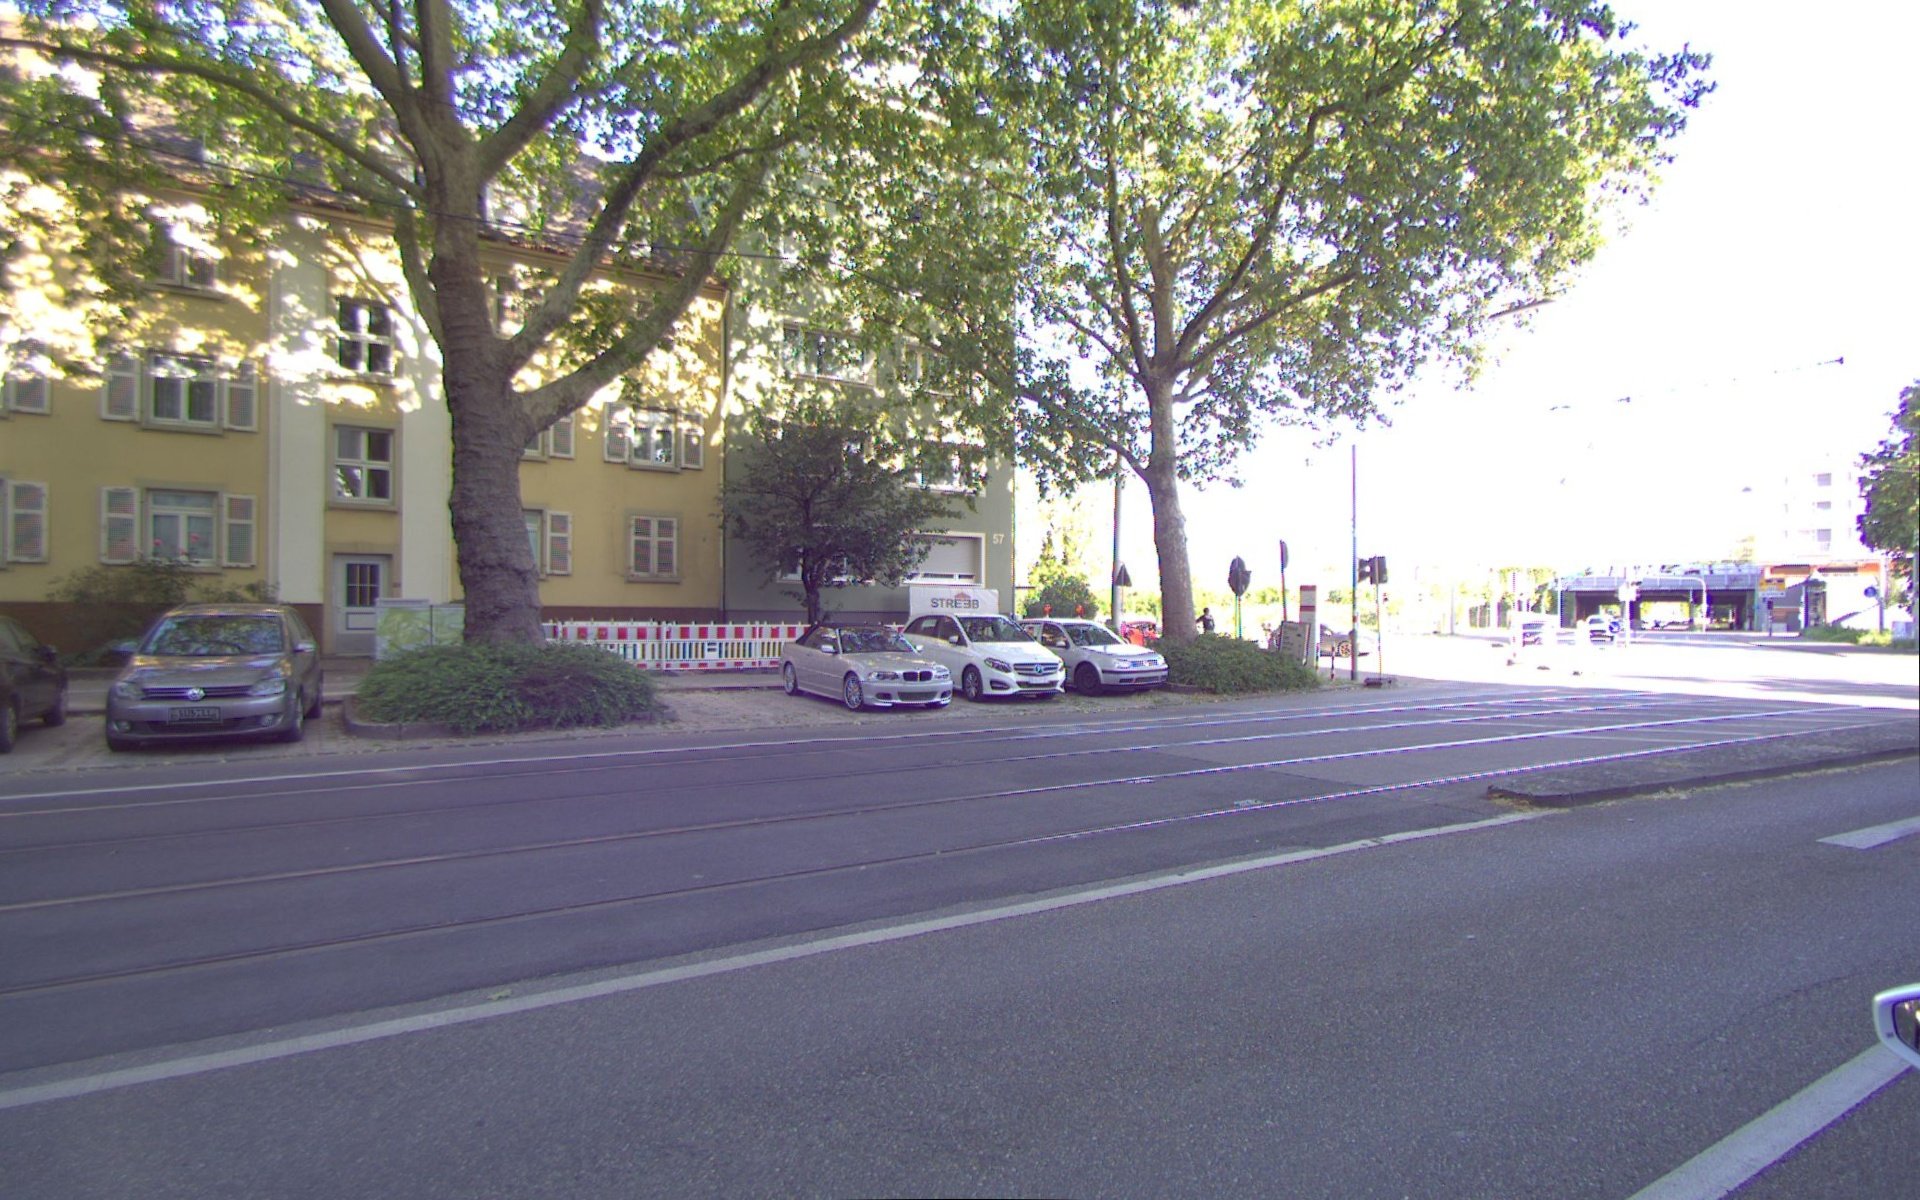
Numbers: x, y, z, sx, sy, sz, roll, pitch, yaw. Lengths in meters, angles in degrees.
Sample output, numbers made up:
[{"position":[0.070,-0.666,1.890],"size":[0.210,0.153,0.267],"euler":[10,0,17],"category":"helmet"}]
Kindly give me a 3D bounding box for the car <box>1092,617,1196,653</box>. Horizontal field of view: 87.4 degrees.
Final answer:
[{"position":[8.712,1.620,47.622],"size":[4.416,1.586,2.017],"euler":[0,-1,35],"category":"car"}]

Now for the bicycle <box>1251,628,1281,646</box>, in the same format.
[{"position":[17.208,2.090,56.496],"size":[1.545,0.995,0.528],"euler":[0,0,14],"category":"bicycle"}]

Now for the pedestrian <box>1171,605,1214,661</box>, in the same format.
[{"position":[7.085,0.993,30.612],"size":[0.919,1.669,0.841],"euler":[2,0,-30],"category":"pedestrian"}]

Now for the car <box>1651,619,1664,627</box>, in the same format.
[{"position":[125.153,4.123,180.288],"size":[1.555,1.277,3.421],"euler":[0,-1,30],"category":"car"}]

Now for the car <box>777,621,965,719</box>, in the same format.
[{"position":[-1.651,1.107,17.311],"size":[1.651,1.370,3.949],"euler":[1,0,-31],"category":"car"}]

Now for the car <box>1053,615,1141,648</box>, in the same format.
[{"position":[7.194,1.632,52.769],"size":[4.123,1.572,1.993],"euler":[2,0,32],"category":"car"}]

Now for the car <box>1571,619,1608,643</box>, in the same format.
[{"position":[43.497,2.133,69.407],"size":[1.860,1.606,3.823],"euler":[2,0,37],"category":"car"}]

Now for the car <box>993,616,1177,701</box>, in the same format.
[{"position":[2.440,1.109,20.530],"size":[1.651,1.473,3.949],"euler":[1,0,-31],"category":"car"}]

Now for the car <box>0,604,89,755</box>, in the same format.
[{"position":[-11.466,0.831,11.387],"size":[1.652,1.518,3.778],"euler":[1,0,-29],"category":"car"}]

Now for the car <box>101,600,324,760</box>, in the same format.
[{"position":[-9.000,0.831,12.418],"size":[1.652,1.602,3.953],"euler":[1,0,-29],"category":"car"}]

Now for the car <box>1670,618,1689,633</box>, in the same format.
[{"position":[83.516,2.975,116.666],"size":[1.731,1.706,3.729],"euler":[2,0,36],"category":"car"}]

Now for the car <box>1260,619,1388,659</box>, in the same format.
[{"position":[15.066,1.577,41.765],"size":[1.927,1.493,4.679],"euler":[1,-1,-44],"category":"car"}]

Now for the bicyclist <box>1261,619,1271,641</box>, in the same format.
[{"position":[17.221,1.688,56.498],"size":[0.519,1.239,0.528],"euler":[0,0,14],"category":"bicyclist"}]

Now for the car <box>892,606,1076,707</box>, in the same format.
[{"position":[0.349,0.982,19.156],"size":[1.651,1.669,3.949],"euler":[1,0,-31],"category":"car"}]
